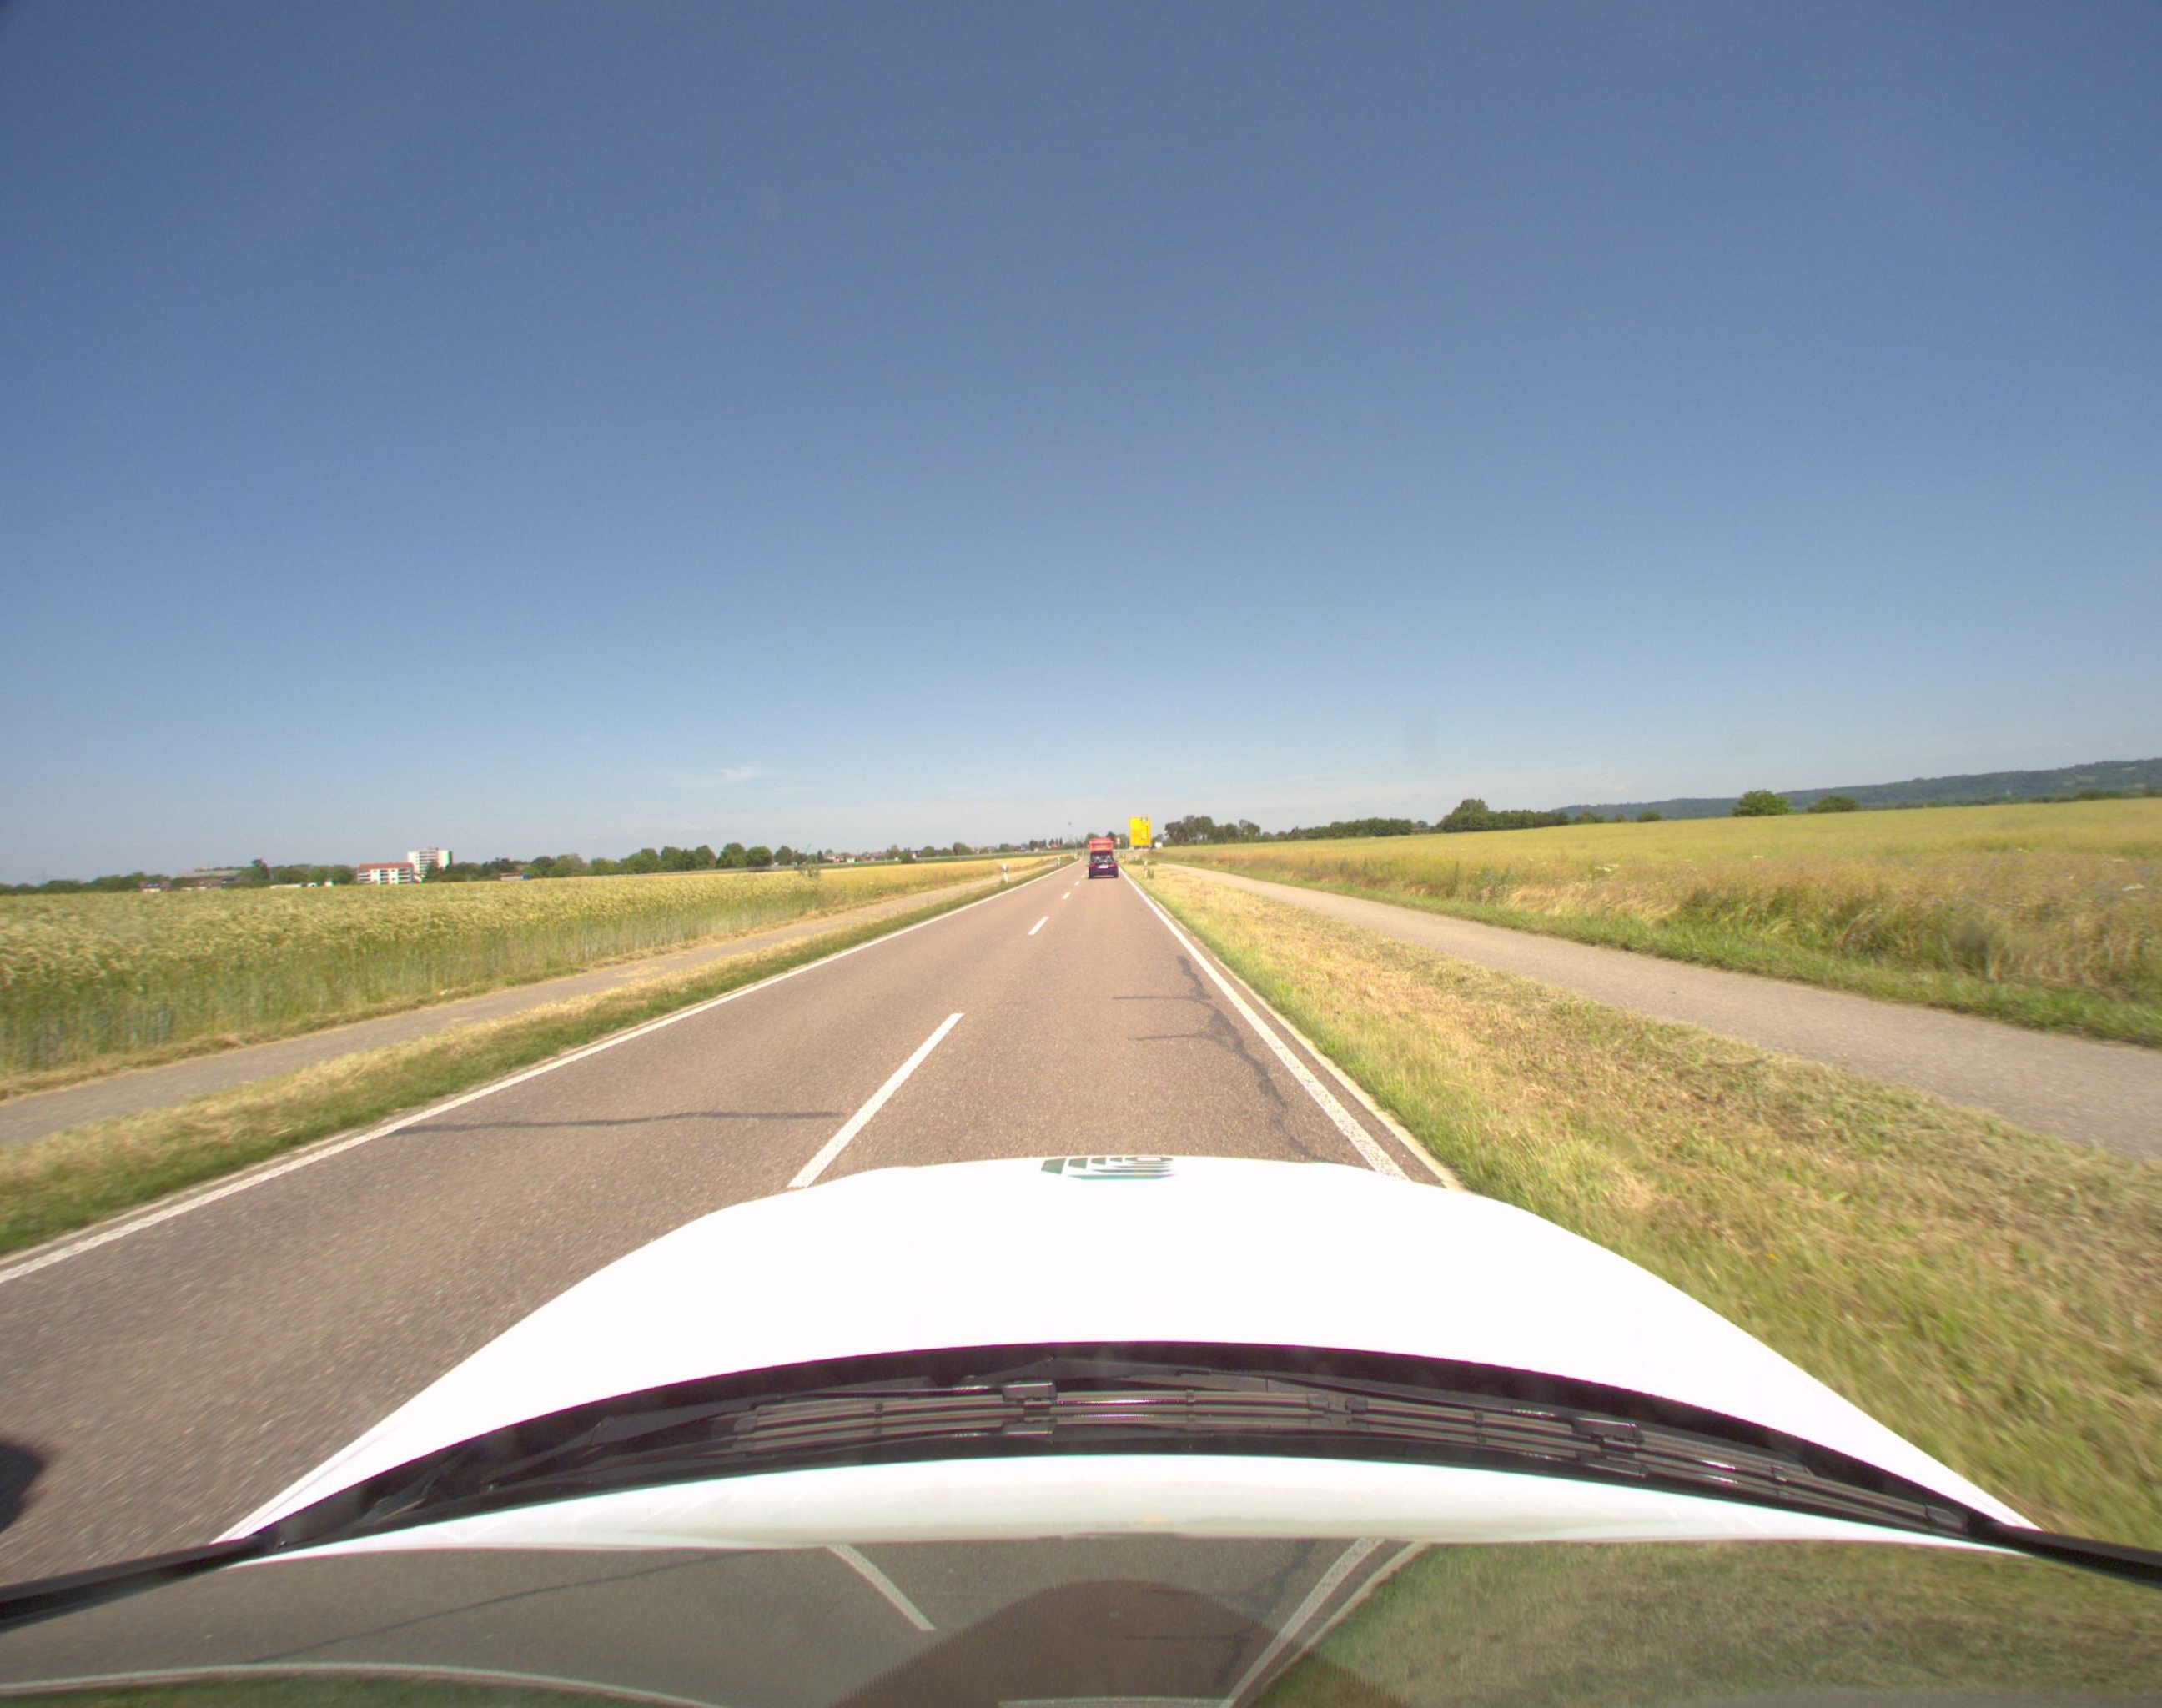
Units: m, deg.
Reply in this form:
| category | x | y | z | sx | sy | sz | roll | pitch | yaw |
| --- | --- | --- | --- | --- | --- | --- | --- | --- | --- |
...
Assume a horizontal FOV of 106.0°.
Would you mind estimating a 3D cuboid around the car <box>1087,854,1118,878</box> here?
| category | x | y | z | sx | sy | sz | roll | pitch | yaw |
| --- | --- | --- | --- | --- | --- | --- | --- | --- | --- |
| car | 1.286 | 0.682 | 48.666 | 1.741 | 1.375 | 3.680 | -1 | 0 | 2 |

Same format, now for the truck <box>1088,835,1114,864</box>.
| category | x | y | z | sx | sy | sz | roll | pitch | yaw |
| --- | --- | --- | --- | --- | --- | --- | --- | --- | --- |
| truck | 2.218 | -0.439 | 90.262 | 2.704 | 3.052 | 8.167 | -2 | 0 | 2 |
